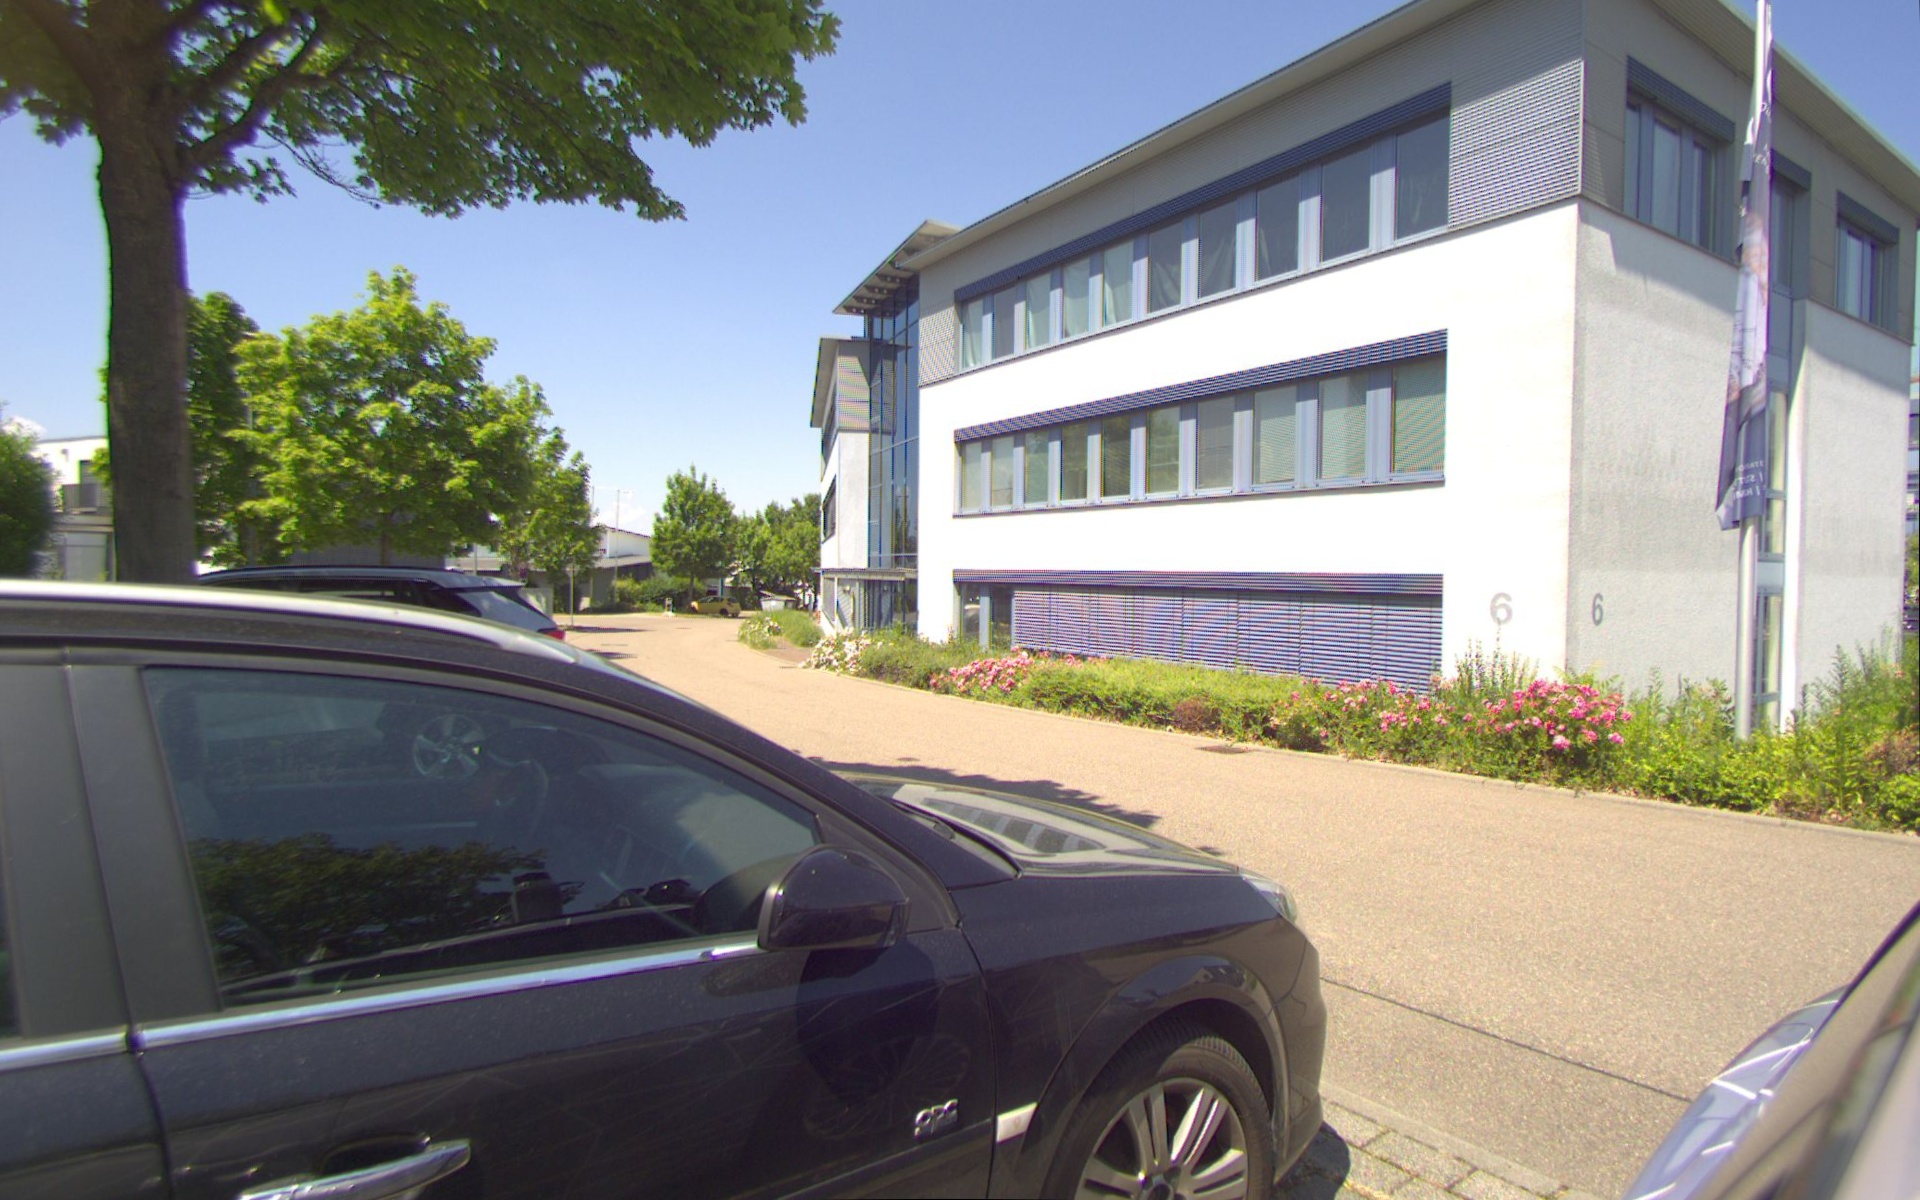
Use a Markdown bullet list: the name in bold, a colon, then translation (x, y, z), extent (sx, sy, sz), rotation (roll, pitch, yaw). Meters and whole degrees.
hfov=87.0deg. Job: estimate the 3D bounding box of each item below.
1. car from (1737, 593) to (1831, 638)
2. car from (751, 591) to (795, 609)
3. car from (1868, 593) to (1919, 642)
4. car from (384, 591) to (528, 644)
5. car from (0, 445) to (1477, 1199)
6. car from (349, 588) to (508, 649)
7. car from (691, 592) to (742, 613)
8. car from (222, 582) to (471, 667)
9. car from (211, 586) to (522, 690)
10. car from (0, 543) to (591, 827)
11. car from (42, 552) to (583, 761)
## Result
- **car**: translation (30.616, 0.528, 37.580), extent (3.925, 1.565, 1.788), rotation (-1, 1, -36)
- **car**: translation (-15.228, 0.014, 82.407), extent (3.172, 1.460, 1.580), rotation (0, 0, 18)
- **car**: translation (32.719, 0.550, 34.552), extent (3.925, 1.565, 1.788), rotation (-1, 1, -36)
- **car**: translation (-14.653, 0.505, 29.590), extent (3.514, 1.461, 1.639), rotation (1, -1, -17)
- **car**: translation (-1.021, 0.637, 1.893), extent (4.480, 1.569, 1.763), rotation (0, 0, -37)
- **car**: translation (-14.211, 0.500, 27.239), extent (3.514, 1.545, 1.639), rotation (1, -1, -17)
- **car**: translation (-17.100, 0.184, 71.210), extent (3.172, 1.460, 1.580), rotation (0, 0, 18)
- **car**: translation (-12.389, 0.503, 20.752), extent (4.090, 1.625, 1.664), rotation (1, -1, -21)
- **car**: translation (-9.338, 0.577, 16.282), extent (4.092, 1.505, 1.663), rotation (1, -1, -27)
- **car**: translation (-5.153, 0.515, 7.420), extent (4.249, 1.664, 1.857), rotation (1, -1, -35)
- **car**: translation (-6.057, 0.478, 9.926), extent (4.122, 1.664, 1.661), rotation (1, -1, -35)
